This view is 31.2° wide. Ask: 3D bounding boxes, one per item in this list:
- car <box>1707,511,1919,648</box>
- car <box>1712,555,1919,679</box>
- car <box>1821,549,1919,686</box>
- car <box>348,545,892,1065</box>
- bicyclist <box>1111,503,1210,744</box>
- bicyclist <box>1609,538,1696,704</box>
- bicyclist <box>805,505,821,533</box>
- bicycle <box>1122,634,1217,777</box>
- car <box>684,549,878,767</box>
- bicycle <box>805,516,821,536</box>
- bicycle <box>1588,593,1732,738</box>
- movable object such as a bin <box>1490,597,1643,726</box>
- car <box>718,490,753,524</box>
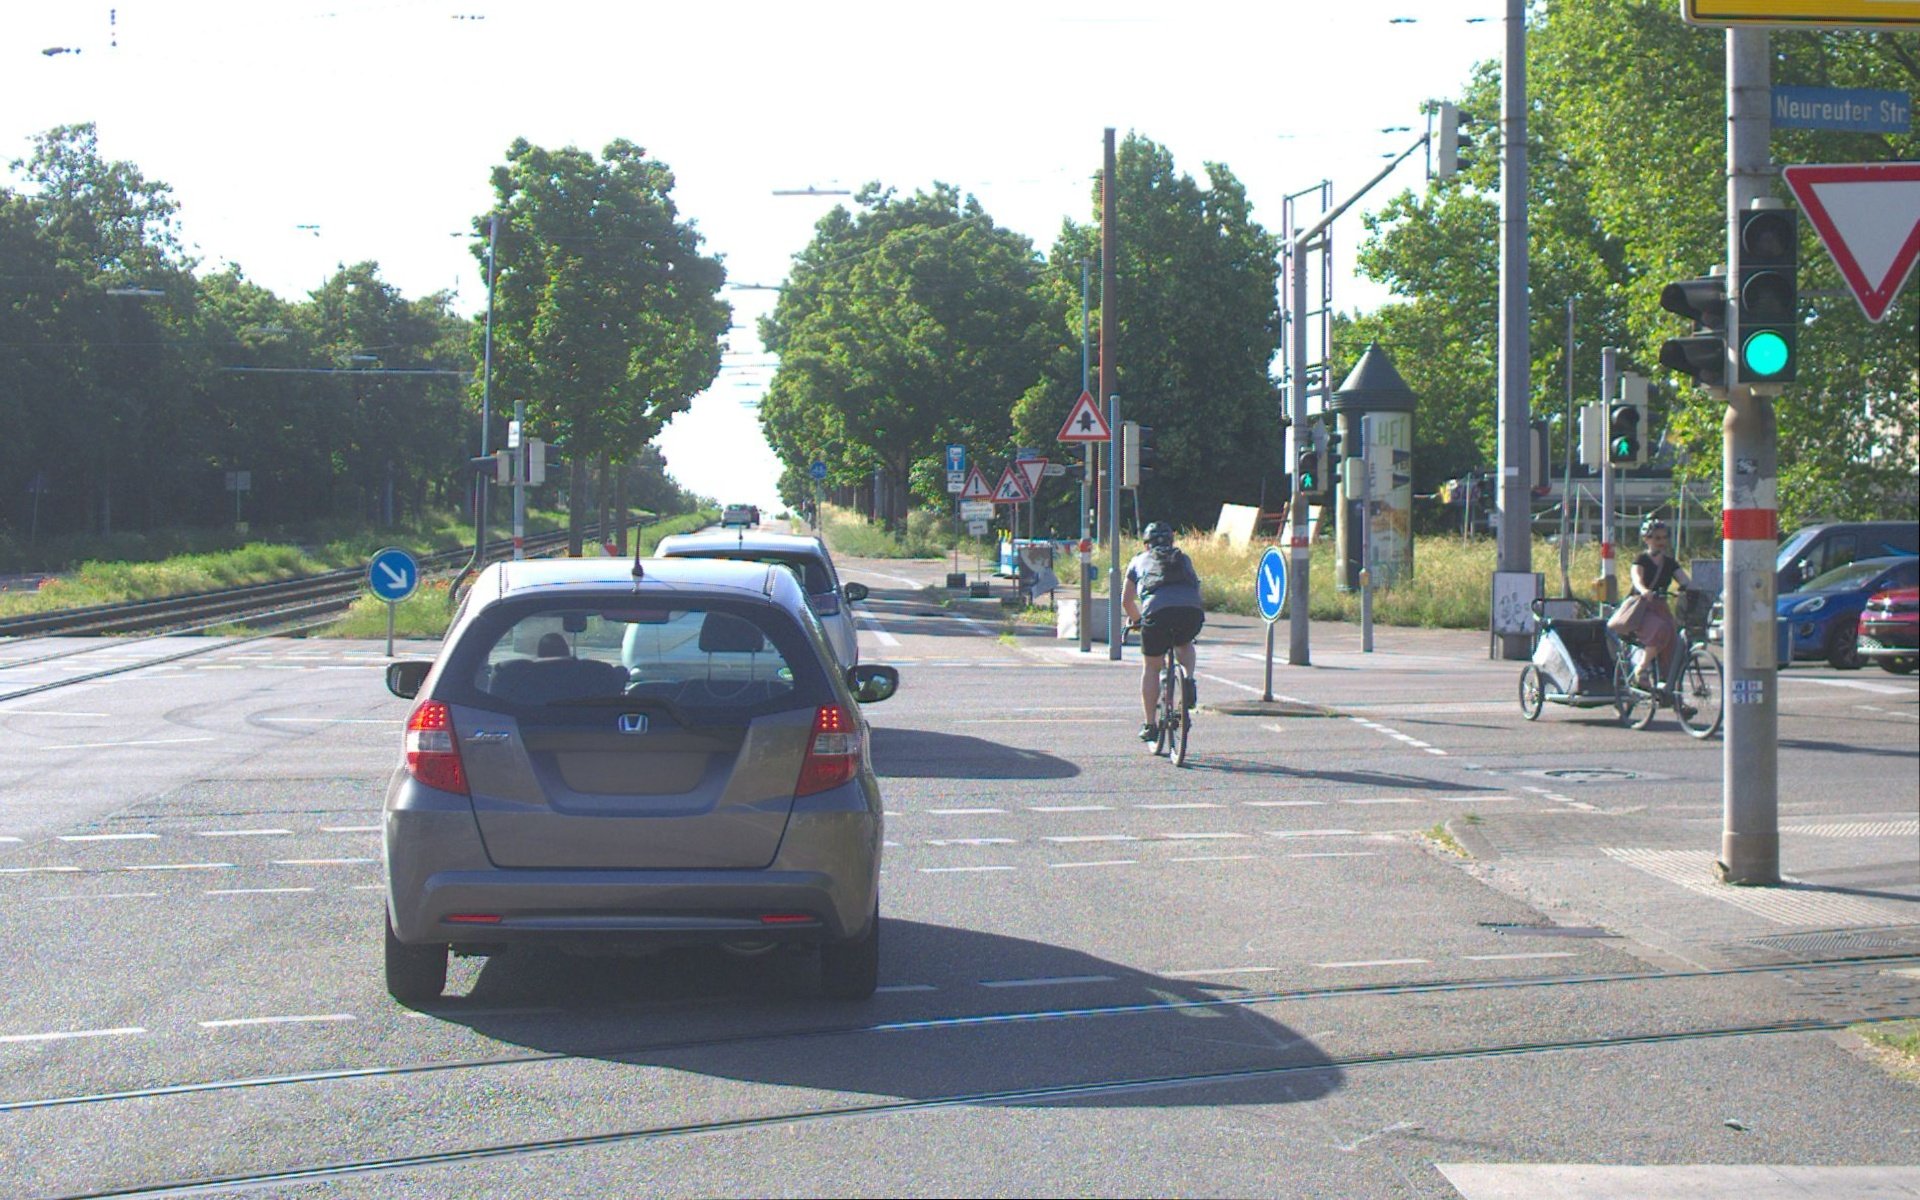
[{"bbox_3d":[14.282,-0.323,53.197,5.104,2.063,2.130,0,1,5],"label":"car"},{"bbox_3d":[12.107,0.197,45.910,3.847,1.595,1.713,-1,1,-29],"label":"car"},{"bbox_3d":[12.675,0.180,41.749,4.076,1.595,1.817,-1,1,-25],"label":"car"},{"bbox_3d":[-1.118,0.622,12.709,1.670,1.510,3.674,2,2,-1],"label":"car"},{"bbox_3d":[1.413,0.160,24.390,0.615,1.674,0.933,0,0,-2],"label":"bicyclist"},{"bbox_3d":[5.639,0.168,28.019,0.509,1.336,0.565,0,1,-12],"label":"bicyclist"},{"bbox_3d":[-8.170,-4.486,191.294,0.817,1.519,0.966,1,0,-2],"label":"bicyclist"},{"bbox_3d":[1.464,0.721,24.273,0.524,0.920,2.089,0,1,0],"label":"bicycle"},{"bbox_3d":[-1.312,0.388,25.711,1.351,1.522,3.123,0,1,-2],"label":"car"},{"bbox_3d":[-8.185,-4.117,191.274,0.817,1.044,2.506,1,0,-2],"label":"bicycle"},{"bbox_3d":[5.692,0.515,28.047,0.466,1.115,1.821,0,1,-12],"label":"bicycle"},{"bbox_3d":[5.210,0.515,29.599,0.908,1.065,1.317,0,1,-9],"label":"movable object such as a bin"},{"bbox_3d":[-13.652,-5.616,208.907,1.993,2.007,4.000,0,1,-2],"label":"car"}]
